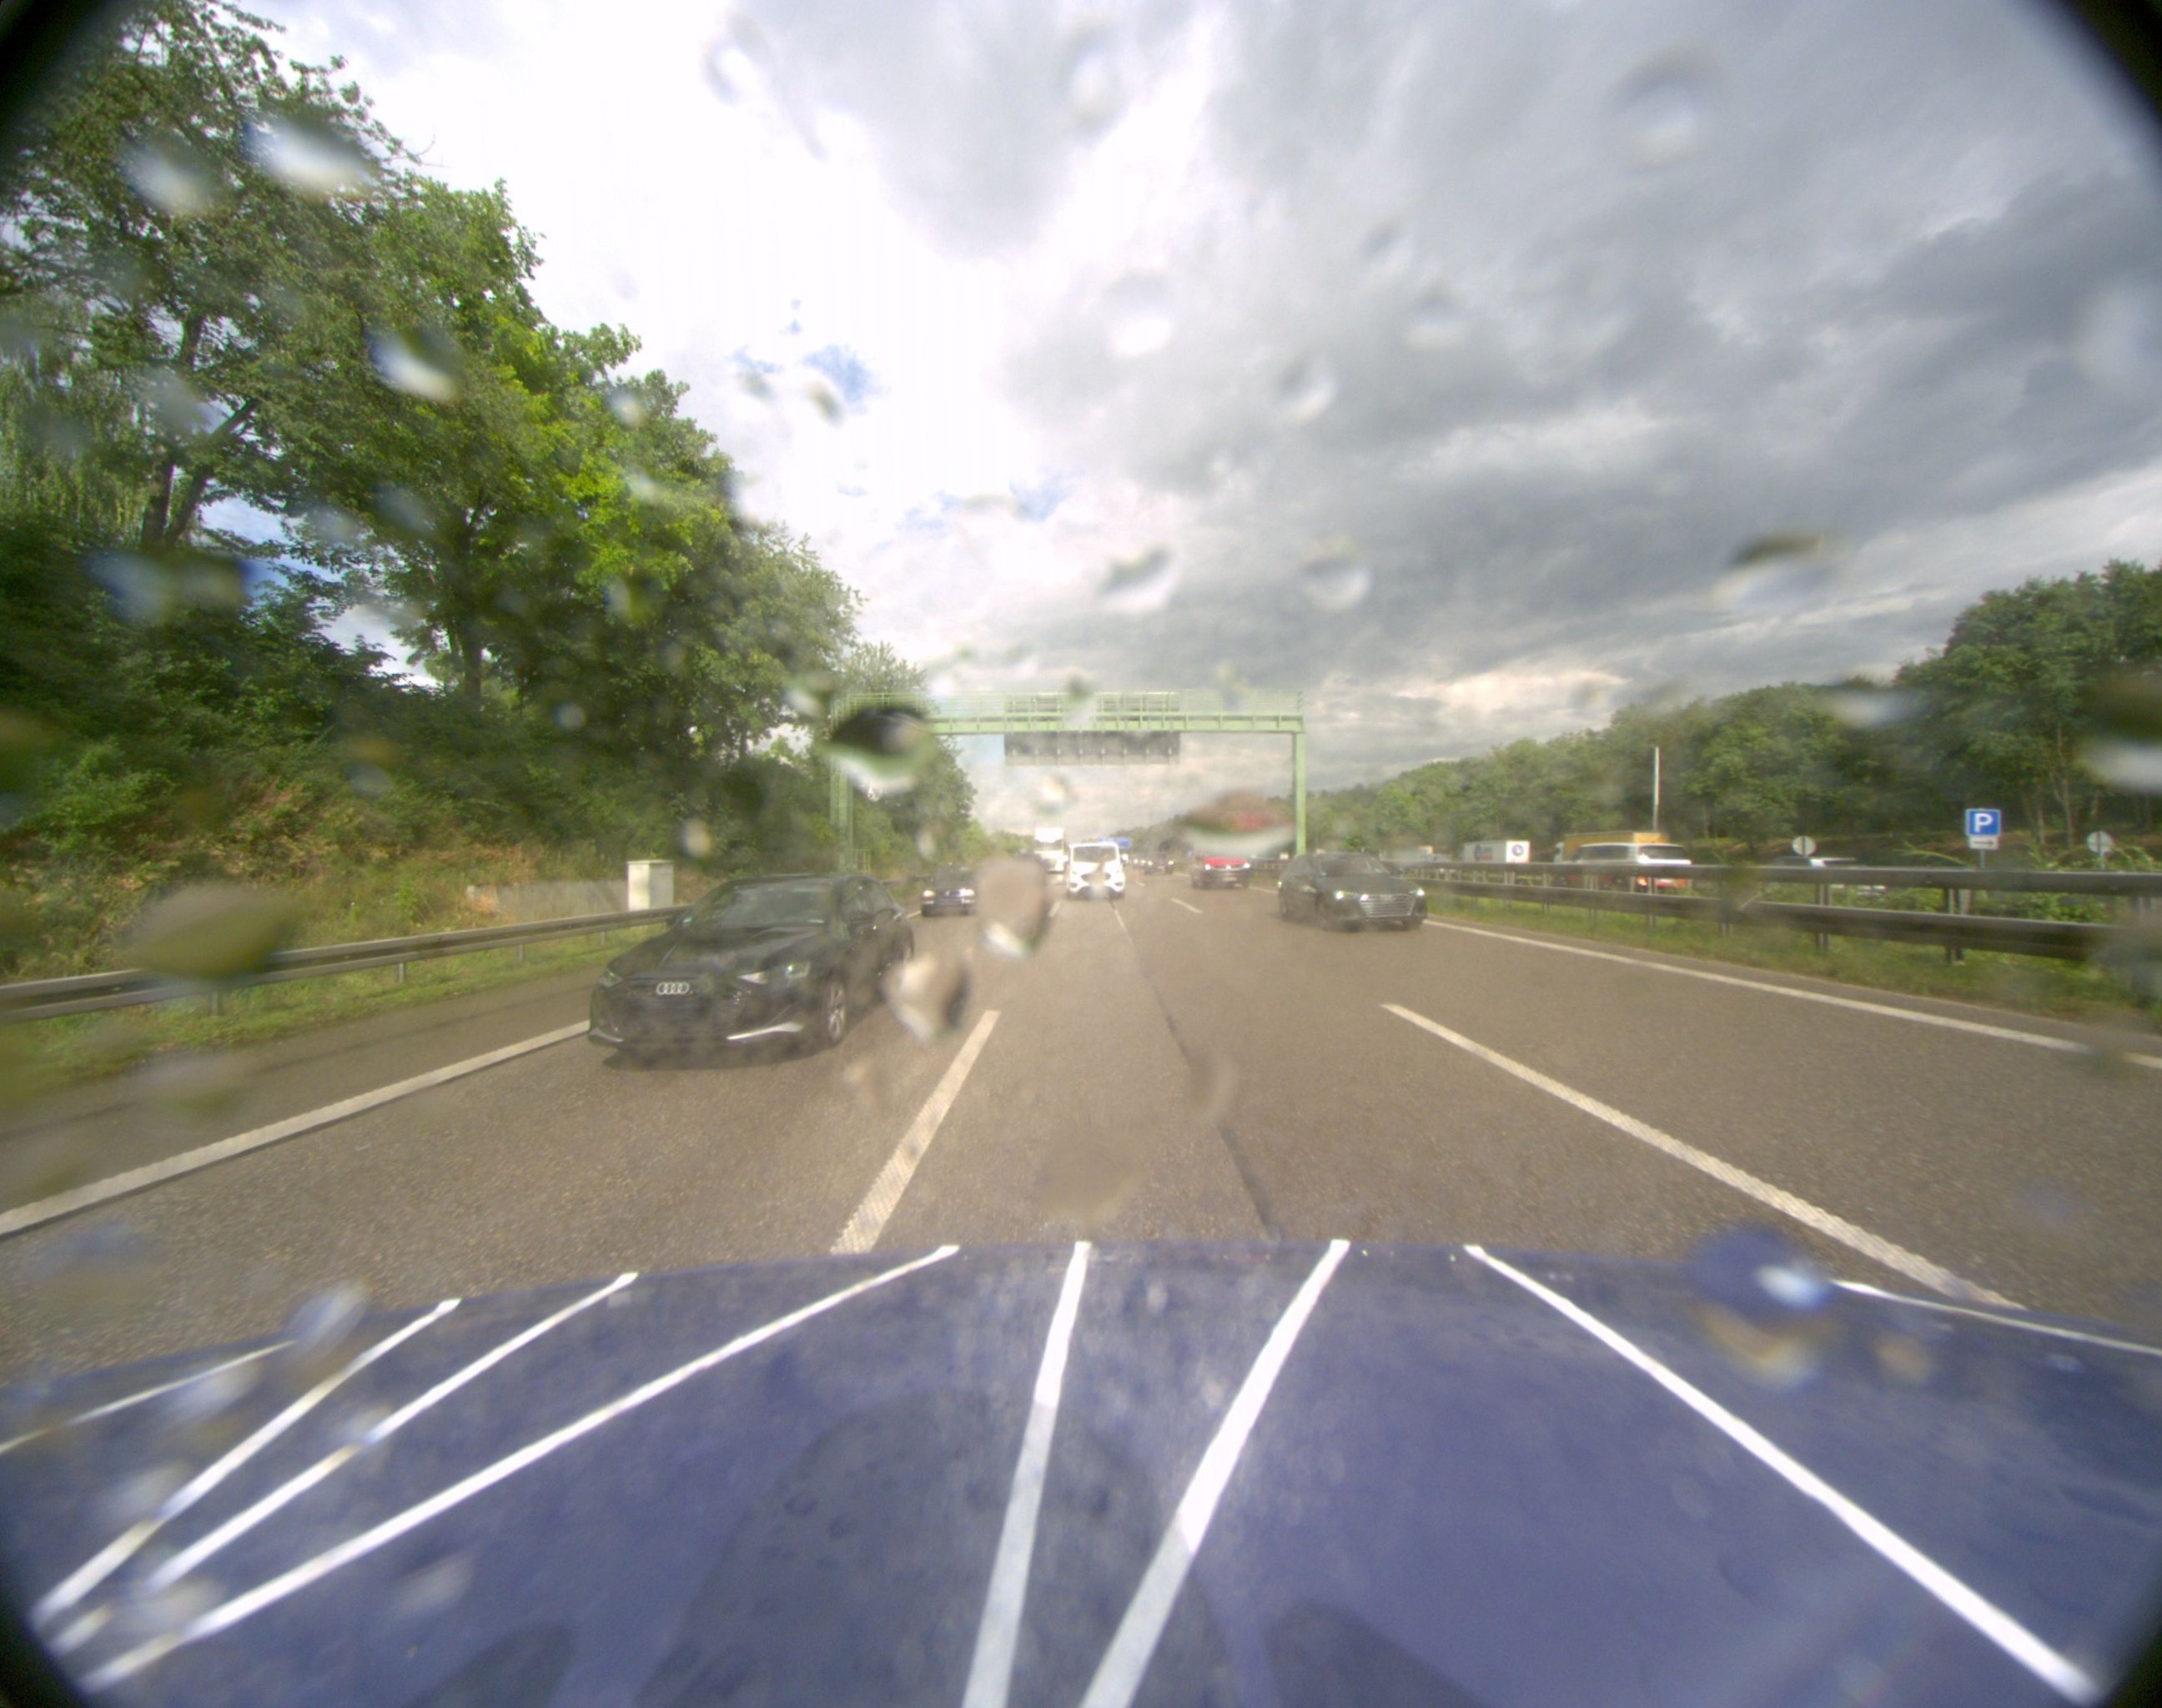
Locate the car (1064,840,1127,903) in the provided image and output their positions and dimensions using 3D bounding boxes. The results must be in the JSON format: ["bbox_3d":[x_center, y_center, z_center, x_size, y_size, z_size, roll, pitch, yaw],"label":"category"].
[{"bbox_3d":[0.470,0.566,27.050,1.985,1.973,5.168,-2,0,0],"label":"car"}]

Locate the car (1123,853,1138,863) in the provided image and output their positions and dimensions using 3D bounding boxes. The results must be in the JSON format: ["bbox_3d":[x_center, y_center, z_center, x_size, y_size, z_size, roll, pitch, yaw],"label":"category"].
[{"bbox_3d":[6.406,0.558,98.844,1.675,1.228,4.000,-2,0,0],"label":"car"}]

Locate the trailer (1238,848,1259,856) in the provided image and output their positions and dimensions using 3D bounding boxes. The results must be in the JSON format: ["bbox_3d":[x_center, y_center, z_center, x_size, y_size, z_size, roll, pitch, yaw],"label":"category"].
[{"bbox_3d":[50.276,-0.608,228.346,2.537,2.559,9.869,-2,1,-11],"label":"trailer"}]

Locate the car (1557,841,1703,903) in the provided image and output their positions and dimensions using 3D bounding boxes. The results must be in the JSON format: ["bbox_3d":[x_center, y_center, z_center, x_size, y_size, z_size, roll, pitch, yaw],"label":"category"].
[{"bbox_3d":[18.460,0.561,25.836,1.929,1.900,4.288,-1,0,1],"label":"car"}]

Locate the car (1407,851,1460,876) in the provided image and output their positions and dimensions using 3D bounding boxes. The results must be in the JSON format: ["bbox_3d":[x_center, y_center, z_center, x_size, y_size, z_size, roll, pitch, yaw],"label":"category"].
[{"bbox_3d":[22.630,0.587,48.913,1.635,1.473,3.786,-1,0,1],"label":"car"}]

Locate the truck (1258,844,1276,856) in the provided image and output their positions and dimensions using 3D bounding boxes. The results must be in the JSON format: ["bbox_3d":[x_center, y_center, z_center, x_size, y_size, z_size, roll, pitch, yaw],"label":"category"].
[{"bbox_3d":[52.650,-1.206,215.042,3.082,3.236,6.093,0,1,-7],"label":"truck"}]

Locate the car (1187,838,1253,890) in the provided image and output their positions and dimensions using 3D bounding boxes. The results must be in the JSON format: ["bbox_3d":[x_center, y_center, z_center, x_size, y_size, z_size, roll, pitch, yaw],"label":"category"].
[{"bbox_3d":[5.786,0.378,32.203,1.895,1.973,4.750,-2,0,0],"label":"car"}]

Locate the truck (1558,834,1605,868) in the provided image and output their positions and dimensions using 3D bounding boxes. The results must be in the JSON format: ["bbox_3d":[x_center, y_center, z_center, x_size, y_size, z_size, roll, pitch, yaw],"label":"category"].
[{"bbox_3d":[48.362,-0.349,73.538,1.979,3.080,5.080,-2,1,12],"label":"truck"}]

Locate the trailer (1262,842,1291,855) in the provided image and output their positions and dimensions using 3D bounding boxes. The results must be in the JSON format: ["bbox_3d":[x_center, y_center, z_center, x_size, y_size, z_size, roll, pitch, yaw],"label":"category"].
[{"bbox_3d":[53.441,-1.480,207.867,3.086,3.252,13.401,0,0,-6],"label":"trailer"}]

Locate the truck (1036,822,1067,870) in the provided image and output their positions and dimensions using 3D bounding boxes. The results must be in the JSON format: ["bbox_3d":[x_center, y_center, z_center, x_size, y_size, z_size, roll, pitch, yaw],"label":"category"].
[{"bbox_3d":[-2.615,-0.707,69.406,2.460,4.079,5.332,-2,0,0],"label":"truck"}]

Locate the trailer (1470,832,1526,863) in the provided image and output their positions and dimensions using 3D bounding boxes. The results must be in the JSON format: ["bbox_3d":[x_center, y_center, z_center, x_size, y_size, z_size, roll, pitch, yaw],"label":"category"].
[{"bbox_3d":[52.711,-0.795,96.400,2.187,3.579,11.726,0,0,8],"label":"trailer"}]

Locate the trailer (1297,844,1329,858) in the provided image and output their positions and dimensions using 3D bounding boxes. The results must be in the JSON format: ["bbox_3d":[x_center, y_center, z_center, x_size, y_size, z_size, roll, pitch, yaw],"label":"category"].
[{"bbox_3d":[55.765,-0.645,183.010,3.193,3.252,12.644,0,0,-2],"label":"trailer"}]

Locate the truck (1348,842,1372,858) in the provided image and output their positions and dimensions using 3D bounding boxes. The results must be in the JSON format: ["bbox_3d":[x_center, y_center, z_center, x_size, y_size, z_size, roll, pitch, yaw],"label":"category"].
[{"bbox_3d":[56.860,-0.760,155.068,2.582,3.232,6.535,0,1,0],"label":"truck"}]

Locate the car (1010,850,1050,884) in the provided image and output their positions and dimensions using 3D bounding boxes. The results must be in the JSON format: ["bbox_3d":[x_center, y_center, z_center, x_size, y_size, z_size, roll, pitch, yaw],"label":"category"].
[{"bbox_3d":[-2.831,0.676,43.174,1.831,1.793,5.305,-1,0,0],"label":"car"}]

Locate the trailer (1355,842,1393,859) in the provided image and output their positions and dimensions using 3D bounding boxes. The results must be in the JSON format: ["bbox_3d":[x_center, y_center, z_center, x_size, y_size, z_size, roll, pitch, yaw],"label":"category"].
[{"bbox_3d":[56.857,-0.677,147.990,2.611,3.252,12.647,0,0,0],"label":"trailer"}]

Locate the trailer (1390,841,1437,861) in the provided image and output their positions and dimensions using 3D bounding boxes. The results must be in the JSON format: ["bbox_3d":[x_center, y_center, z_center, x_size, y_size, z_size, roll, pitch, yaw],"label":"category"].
[{"bbox_3d":[56.518,-0.524,129.645,3.026,3.174,12.175,0,0,2],"label":"trailer"}]

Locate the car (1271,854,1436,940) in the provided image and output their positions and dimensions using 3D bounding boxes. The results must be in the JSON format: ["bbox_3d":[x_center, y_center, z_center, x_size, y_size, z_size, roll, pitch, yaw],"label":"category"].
[{"bbox_3d":[5.264,0.743,15.356,1.723,1.403,4.467,-2,0,0],"label":"car"}]

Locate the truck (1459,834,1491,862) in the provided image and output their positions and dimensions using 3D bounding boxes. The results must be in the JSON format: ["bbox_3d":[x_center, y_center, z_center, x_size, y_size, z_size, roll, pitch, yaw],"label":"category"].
[{"bbox_3d":[53.653,-0.814,103.511,2.167,3.599,5.581,0,0,8],"label":"truck"}]

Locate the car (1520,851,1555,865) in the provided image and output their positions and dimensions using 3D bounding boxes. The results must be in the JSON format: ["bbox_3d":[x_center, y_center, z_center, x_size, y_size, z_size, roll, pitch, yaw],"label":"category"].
[{"bbox_3d":[51.051,0.455,85.015,1.898,1.494,4.002,0,0,8],"label":"car"}]

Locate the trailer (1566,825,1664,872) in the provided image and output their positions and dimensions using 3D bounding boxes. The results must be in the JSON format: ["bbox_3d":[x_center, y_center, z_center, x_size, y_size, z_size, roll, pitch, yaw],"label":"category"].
[{"bbox_3d":[46.960,-0.531,67.473,1.997,3.673,13.669,-2,1,13],"label":"trailer"}]

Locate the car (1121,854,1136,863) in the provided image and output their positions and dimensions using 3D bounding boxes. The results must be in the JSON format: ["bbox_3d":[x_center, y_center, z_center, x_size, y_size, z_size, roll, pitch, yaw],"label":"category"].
[{"bbox_3d":[6.893,0.649,110.527,1.888,1.228,4.506,-2,0,0],"label":"car"}]

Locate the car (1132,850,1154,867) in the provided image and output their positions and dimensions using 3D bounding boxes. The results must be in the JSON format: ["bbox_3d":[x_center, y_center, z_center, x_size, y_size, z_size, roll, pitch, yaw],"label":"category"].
[{"bbox_3d":[6.298,0.443,77.336,1.895,1.557,4.053,-1,0,0],"label":"car"}]

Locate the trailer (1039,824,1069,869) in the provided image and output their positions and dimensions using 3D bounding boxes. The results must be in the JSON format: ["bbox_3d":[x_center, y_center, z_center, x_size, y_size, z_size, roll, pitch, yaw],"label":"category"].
[{"bbox_3d":[-2.611,-0.724,76.914,2.451,4.095,12.215,-2,1,0],"label":"trailer"}]

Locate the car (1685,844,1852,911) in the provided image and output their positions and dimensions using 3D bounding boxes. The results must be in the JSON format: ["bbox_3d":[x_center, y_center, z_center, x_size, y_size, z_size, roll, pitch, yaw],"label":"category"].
[{"bbox_3d":[23.051,0.718,25.710,1.998,2.002,4.000,-3,0,0],"label":"car"}]

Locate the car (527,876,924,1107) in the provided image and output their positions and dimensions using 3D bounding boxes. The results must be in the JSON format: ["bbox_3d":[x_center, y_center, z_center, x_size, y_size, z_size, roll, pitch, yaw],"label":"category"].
[{"bbox_3d":[-2.890,1.013,7.403,1.759,1.388,4.368,-2,0,0],"label":"car"}]

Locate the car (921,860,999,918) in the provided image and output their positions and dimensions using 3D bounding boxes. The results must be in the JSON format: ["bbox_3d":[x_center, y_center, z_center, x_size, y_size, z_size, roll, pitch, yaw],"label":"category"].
[{"bbox_3d":[-3.392,0.943,21.897,1.655,1.447,3.744,-1,0,-1],"label":"car"}]

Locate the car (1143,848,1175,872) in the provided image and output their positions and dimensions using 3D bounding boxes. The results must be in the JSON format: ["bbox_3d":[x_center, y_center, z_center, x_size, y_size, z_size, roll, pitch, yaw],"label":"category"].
[{"bbox_3d":[5.778,0.436,56.442,1.895,1.660,4.294,-1,0,0],"label":"car"}]

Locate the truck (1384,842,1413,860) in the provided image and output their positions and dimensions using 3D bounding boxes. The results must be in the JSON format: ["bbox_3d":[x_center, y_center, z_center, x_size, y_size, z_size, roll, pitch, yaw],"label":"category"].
[{"bbox_3d":[56.797,-0.549,136.117,3.049,3.165,5.597,0,0,2],"label":"truck"}]
